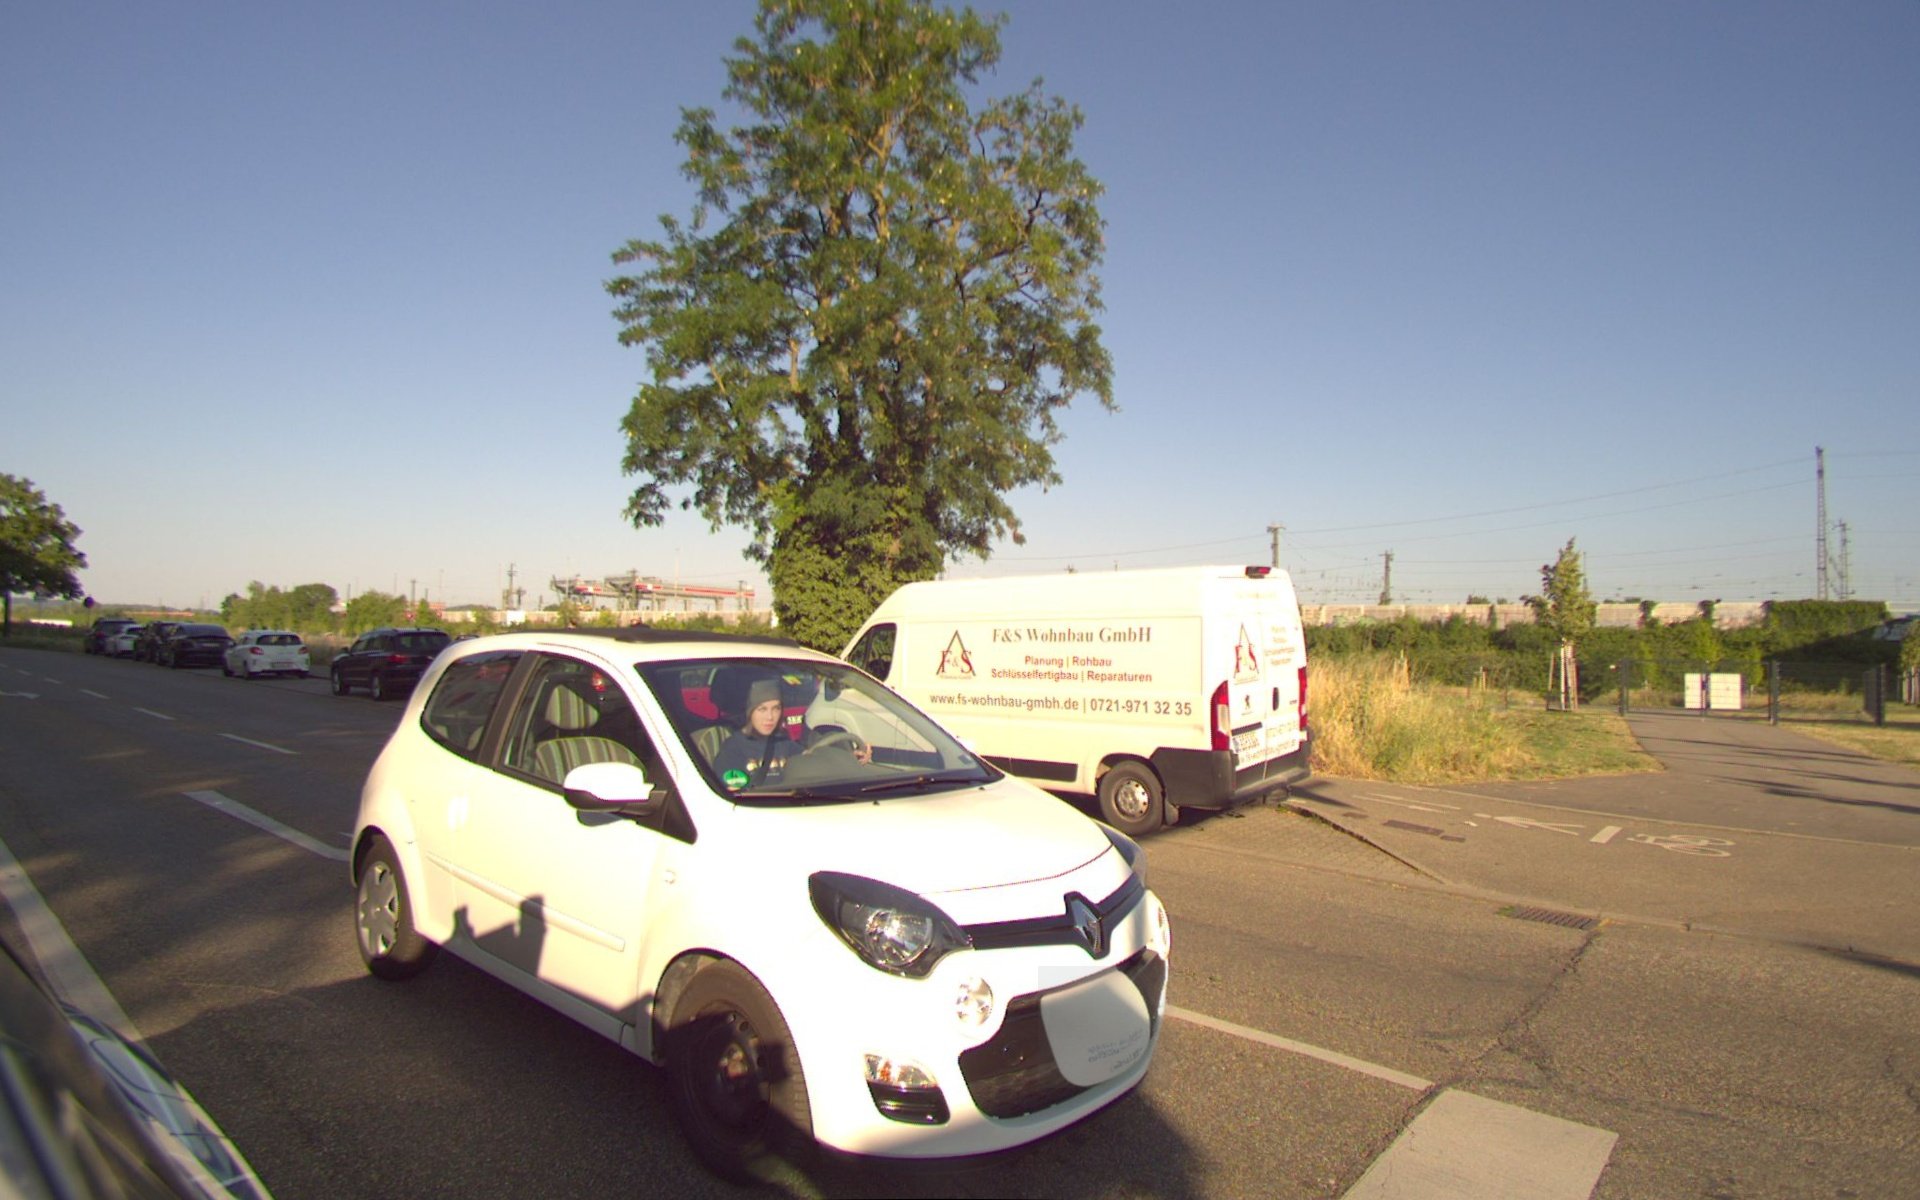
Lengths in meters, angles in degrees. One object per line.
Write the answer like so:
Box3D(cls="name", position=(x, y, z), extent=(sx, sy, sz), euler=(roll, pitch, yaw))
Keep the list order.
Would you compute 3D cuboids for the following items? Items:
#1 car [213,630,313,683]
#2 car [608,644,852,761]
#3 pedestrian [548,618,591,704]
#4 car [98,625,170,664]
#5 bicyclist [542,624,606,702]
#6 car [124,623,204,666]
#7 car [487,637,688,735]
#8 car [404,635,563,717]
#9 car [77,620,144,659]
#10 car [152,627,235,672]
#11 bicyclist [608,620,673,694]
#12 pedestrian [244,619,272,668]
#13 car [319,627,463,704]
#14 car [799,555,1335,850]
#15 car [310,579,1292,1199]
Box3D(cls="car", position=(-21.562, 1.725, 31.287), extent=(3.582, 1.538, 1.684), euler=(-1, -4, 42))
Box3D(cls="car", position=(-3.552, 1.470, 15.391), extent=(3.692, 1.498, 1.723), euler=(-1, -4, 40))
Box3D(cls="pedestrian", position=(-9.384, 1.462, 24.329), extent=(0.729, 2.029, 0.608), euler=(-1, -4, 39))
Box3D(cls="car", position=(-36.473, 1.944, 44.655), extent=(4.219, 1.586, 1.799), euler=(-1, -4, 43))
Box3D(cls="bicyclist", position=(-8.249, 1.324, 21.607), extent=(1.145, 1.609, 0.758), euler=(-1, -4, 40))
Box3D(cls="car", position=(-32.386, 1.805, 41.144), extent=(4.219, 1.650, 1.799), euler=(-1, -4, 43))
Box3D(cls="car", position=(-6.802, 1.490, 18.313), extent=(3.814, 1.541, 1.723), euler=(-1, -4, 40))
Box3D(cls="car", position=(-10.018, 1.542, 21.192), extent=(3.577, 1.541, 1.642), euler=(-1, -4, 40))
Box3D(cls="car", position=(-40.843, 1.887, 48.602), extent=(4.219, 1.789, 1.866), euler=(-1, -4, 43))
Box3D(cls="car", position=(-28.237, 1.809, 37.223), extent=(1.798, 1.538, 4.292), euler=(5, -4, -45))
Box3D(cls="bicyclist", position=(-7.094, 1.257, 22.474), extent=(1.145, 1.609, 0.855), euler=(-1, -4, 42))
Box3D(cls="pedestrian", position=(-29.217, 1.814, 42.126), extent=(0.710, 2.029, 0.697), euler=(-1, -4, 42))
Box3D(cls="car", position=(-13.600, 1.520, 24.110), extent=(4.003, 1.672, 1.642), euler=(-1, -4, 40))
Box3D(cls="car", position=(0.925, 0.891, 11.077), extent=(5.556, 2.455, 2.207), euler=(-1, -1, 40))
Box3D(cls="car", position=(-0.872, 0.770, 3.937), extent=(3.772, 1.480, 1.683), euler=(-1, -4, 40))
